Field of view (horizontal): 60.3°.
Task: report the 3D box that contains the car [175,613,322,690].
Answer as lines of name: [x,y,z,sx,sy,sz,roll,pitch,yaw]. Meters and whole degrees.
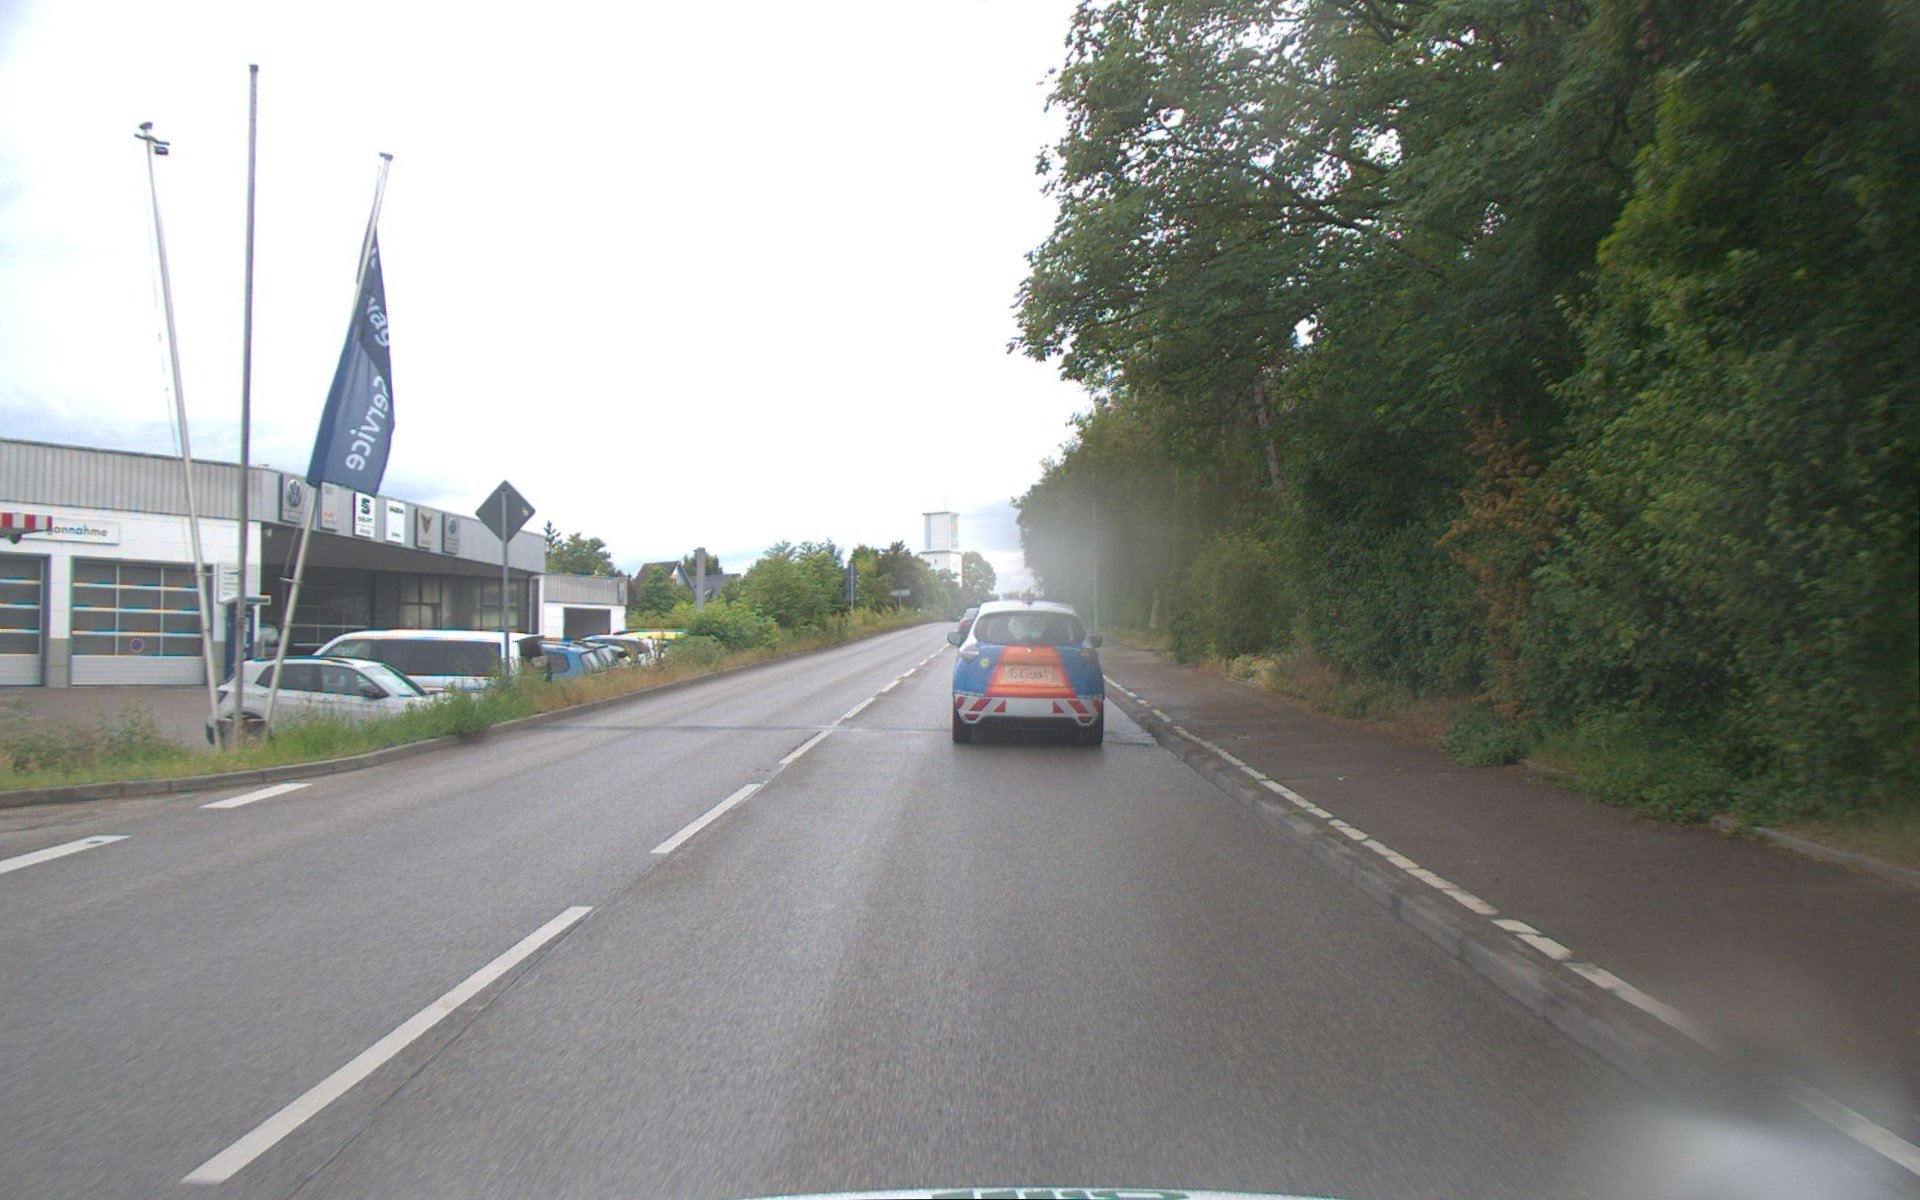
car: [-20.832,1.518,48.348,4.396,1.994,1.981,-4,-3,36]

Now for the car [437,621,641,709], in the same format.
car: [-9.471,1.454,37.458,4.141,1.829,1.874,-1,0,-2]

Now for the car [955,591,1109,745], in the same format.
car: [0.807,0.765,19.270,1.623,1.621,3.568,0,-1,1]

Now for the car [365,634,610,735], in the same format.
car: [-9.366,1.656,33.062,4.324,1.829,2.001,-1,0,-2]

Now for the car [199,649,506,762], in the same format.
car: [-9.098,1.569,24.997,3.927,1.504,1.824,-1,0,0]

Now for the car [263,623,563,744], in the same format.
car: [-9.059,1.364,27.660,4.322,1.829,1.934,-1,0,0]

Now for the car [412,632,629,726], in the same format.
car: [-9.346,1.670,35.416,4.141,1.829,1.874,-1,0,-2]

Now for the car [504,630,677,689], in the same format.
car: [-9.669,1.539,43.558,4.141,1.392,1.874,-1,0,-2]

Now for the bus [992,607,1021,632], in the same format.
bus: [6.313,2.639,225.464,2.853,3.225,11.457,-2,-1,-4]

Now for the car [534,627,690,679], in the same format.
car: [-9.671,1.458,46.238,3.981,1.313,1.804,-1,0,-2]

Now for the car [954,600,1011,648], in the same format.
car: [0.771,0.875,59.315,1.766,1.618,3.560,-2,-1,-3]

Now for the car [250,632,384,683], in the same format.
car: [-19.571,1.736,50.269,3.940,1.441,1.947,-1,0,35]

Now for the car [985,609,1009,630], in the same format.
car: [2.623,1.403,118.018,1.581,1.432,3.496,-2,-1,-1]
